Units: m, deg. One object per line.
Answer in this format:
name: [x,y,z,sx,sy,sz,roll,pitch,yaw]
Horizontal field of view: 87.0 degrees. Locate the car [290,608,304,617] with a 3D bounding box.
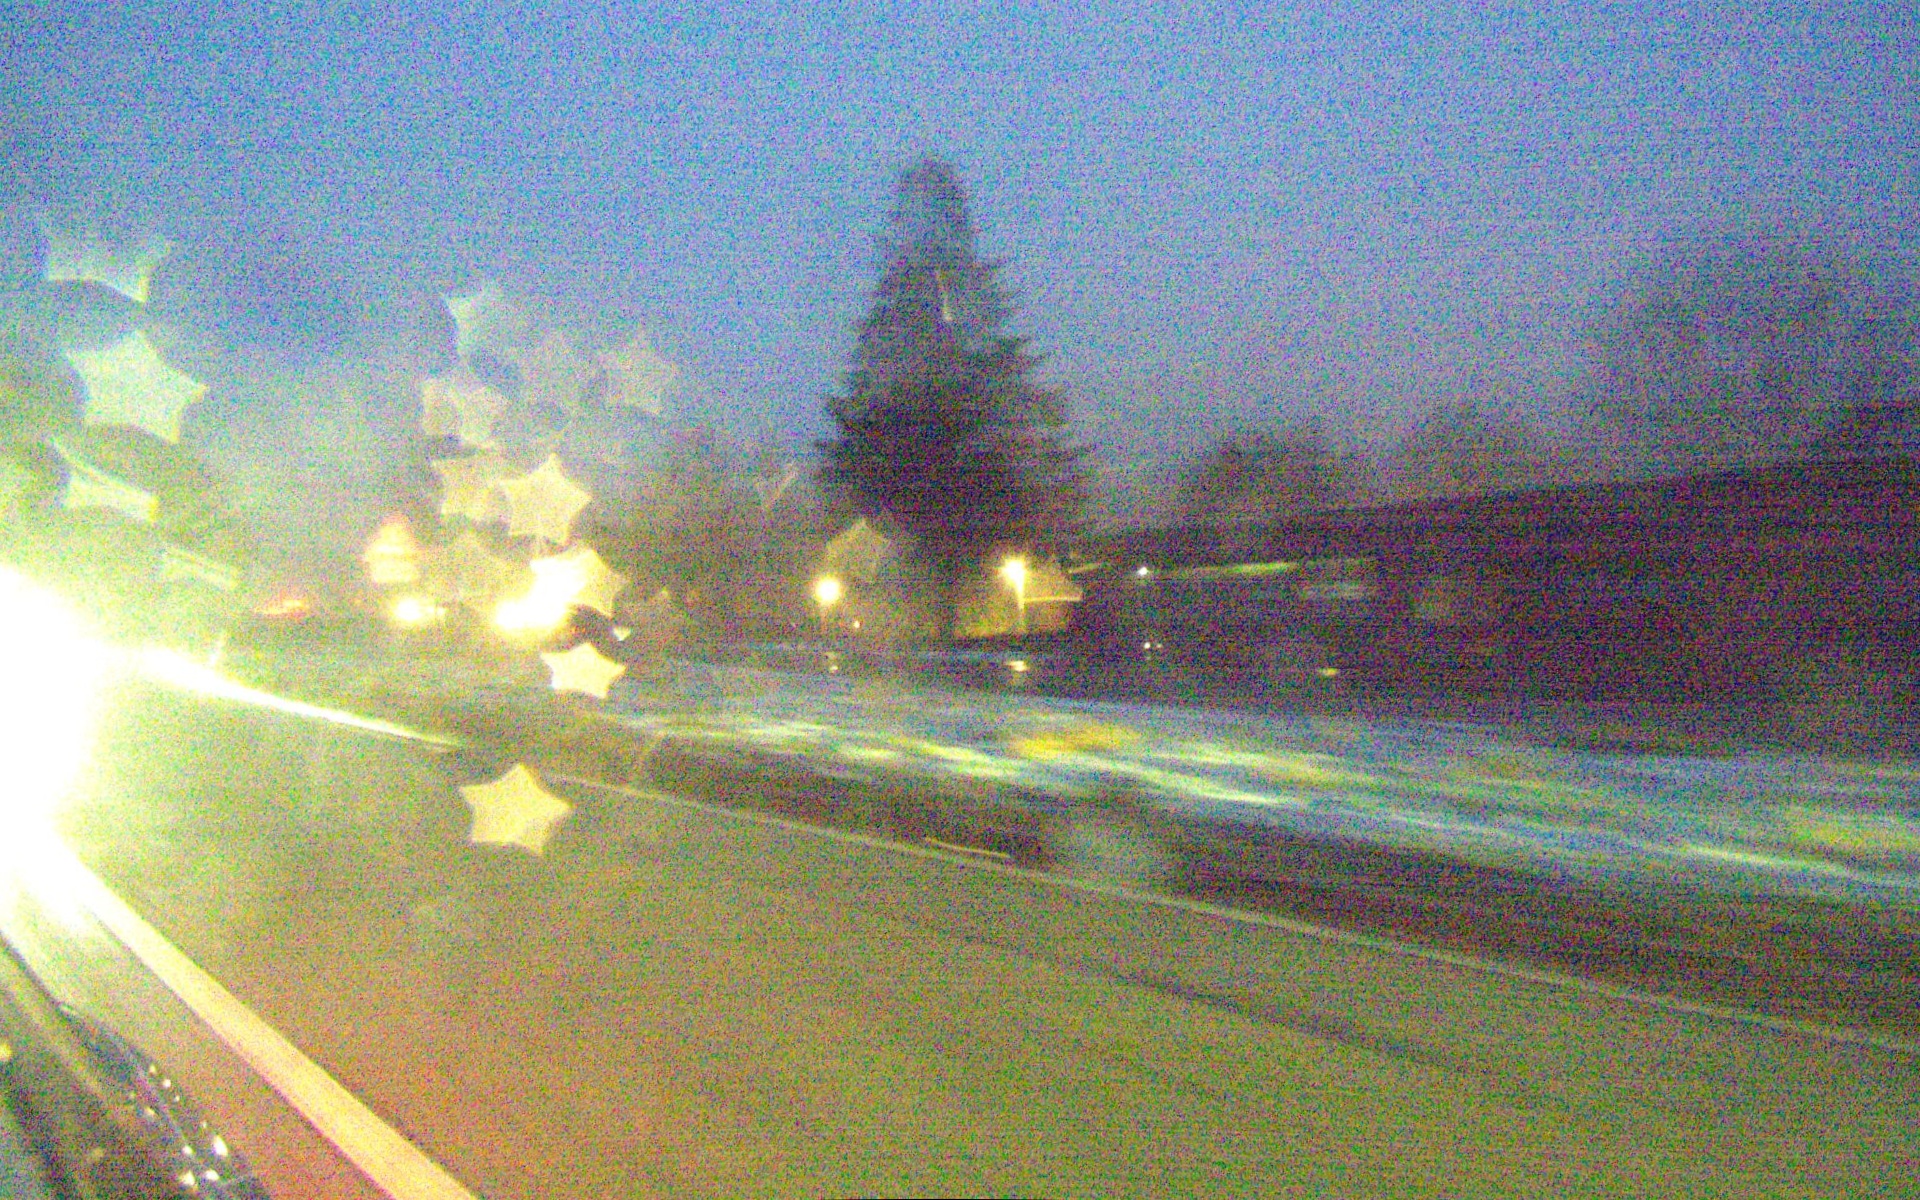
car: [-118.504,2.261,180.850,1.710,1.554,4.013,-1,1,-29]

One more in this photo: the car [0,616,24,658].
car: [-41.784,1.565,43.633,1.930,1.735,4.006,1,-1,-40]

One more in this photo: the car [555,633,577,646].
car: [-52.494,5.253,134.724,1.635,1.532,3.455,-1,1,-41]
